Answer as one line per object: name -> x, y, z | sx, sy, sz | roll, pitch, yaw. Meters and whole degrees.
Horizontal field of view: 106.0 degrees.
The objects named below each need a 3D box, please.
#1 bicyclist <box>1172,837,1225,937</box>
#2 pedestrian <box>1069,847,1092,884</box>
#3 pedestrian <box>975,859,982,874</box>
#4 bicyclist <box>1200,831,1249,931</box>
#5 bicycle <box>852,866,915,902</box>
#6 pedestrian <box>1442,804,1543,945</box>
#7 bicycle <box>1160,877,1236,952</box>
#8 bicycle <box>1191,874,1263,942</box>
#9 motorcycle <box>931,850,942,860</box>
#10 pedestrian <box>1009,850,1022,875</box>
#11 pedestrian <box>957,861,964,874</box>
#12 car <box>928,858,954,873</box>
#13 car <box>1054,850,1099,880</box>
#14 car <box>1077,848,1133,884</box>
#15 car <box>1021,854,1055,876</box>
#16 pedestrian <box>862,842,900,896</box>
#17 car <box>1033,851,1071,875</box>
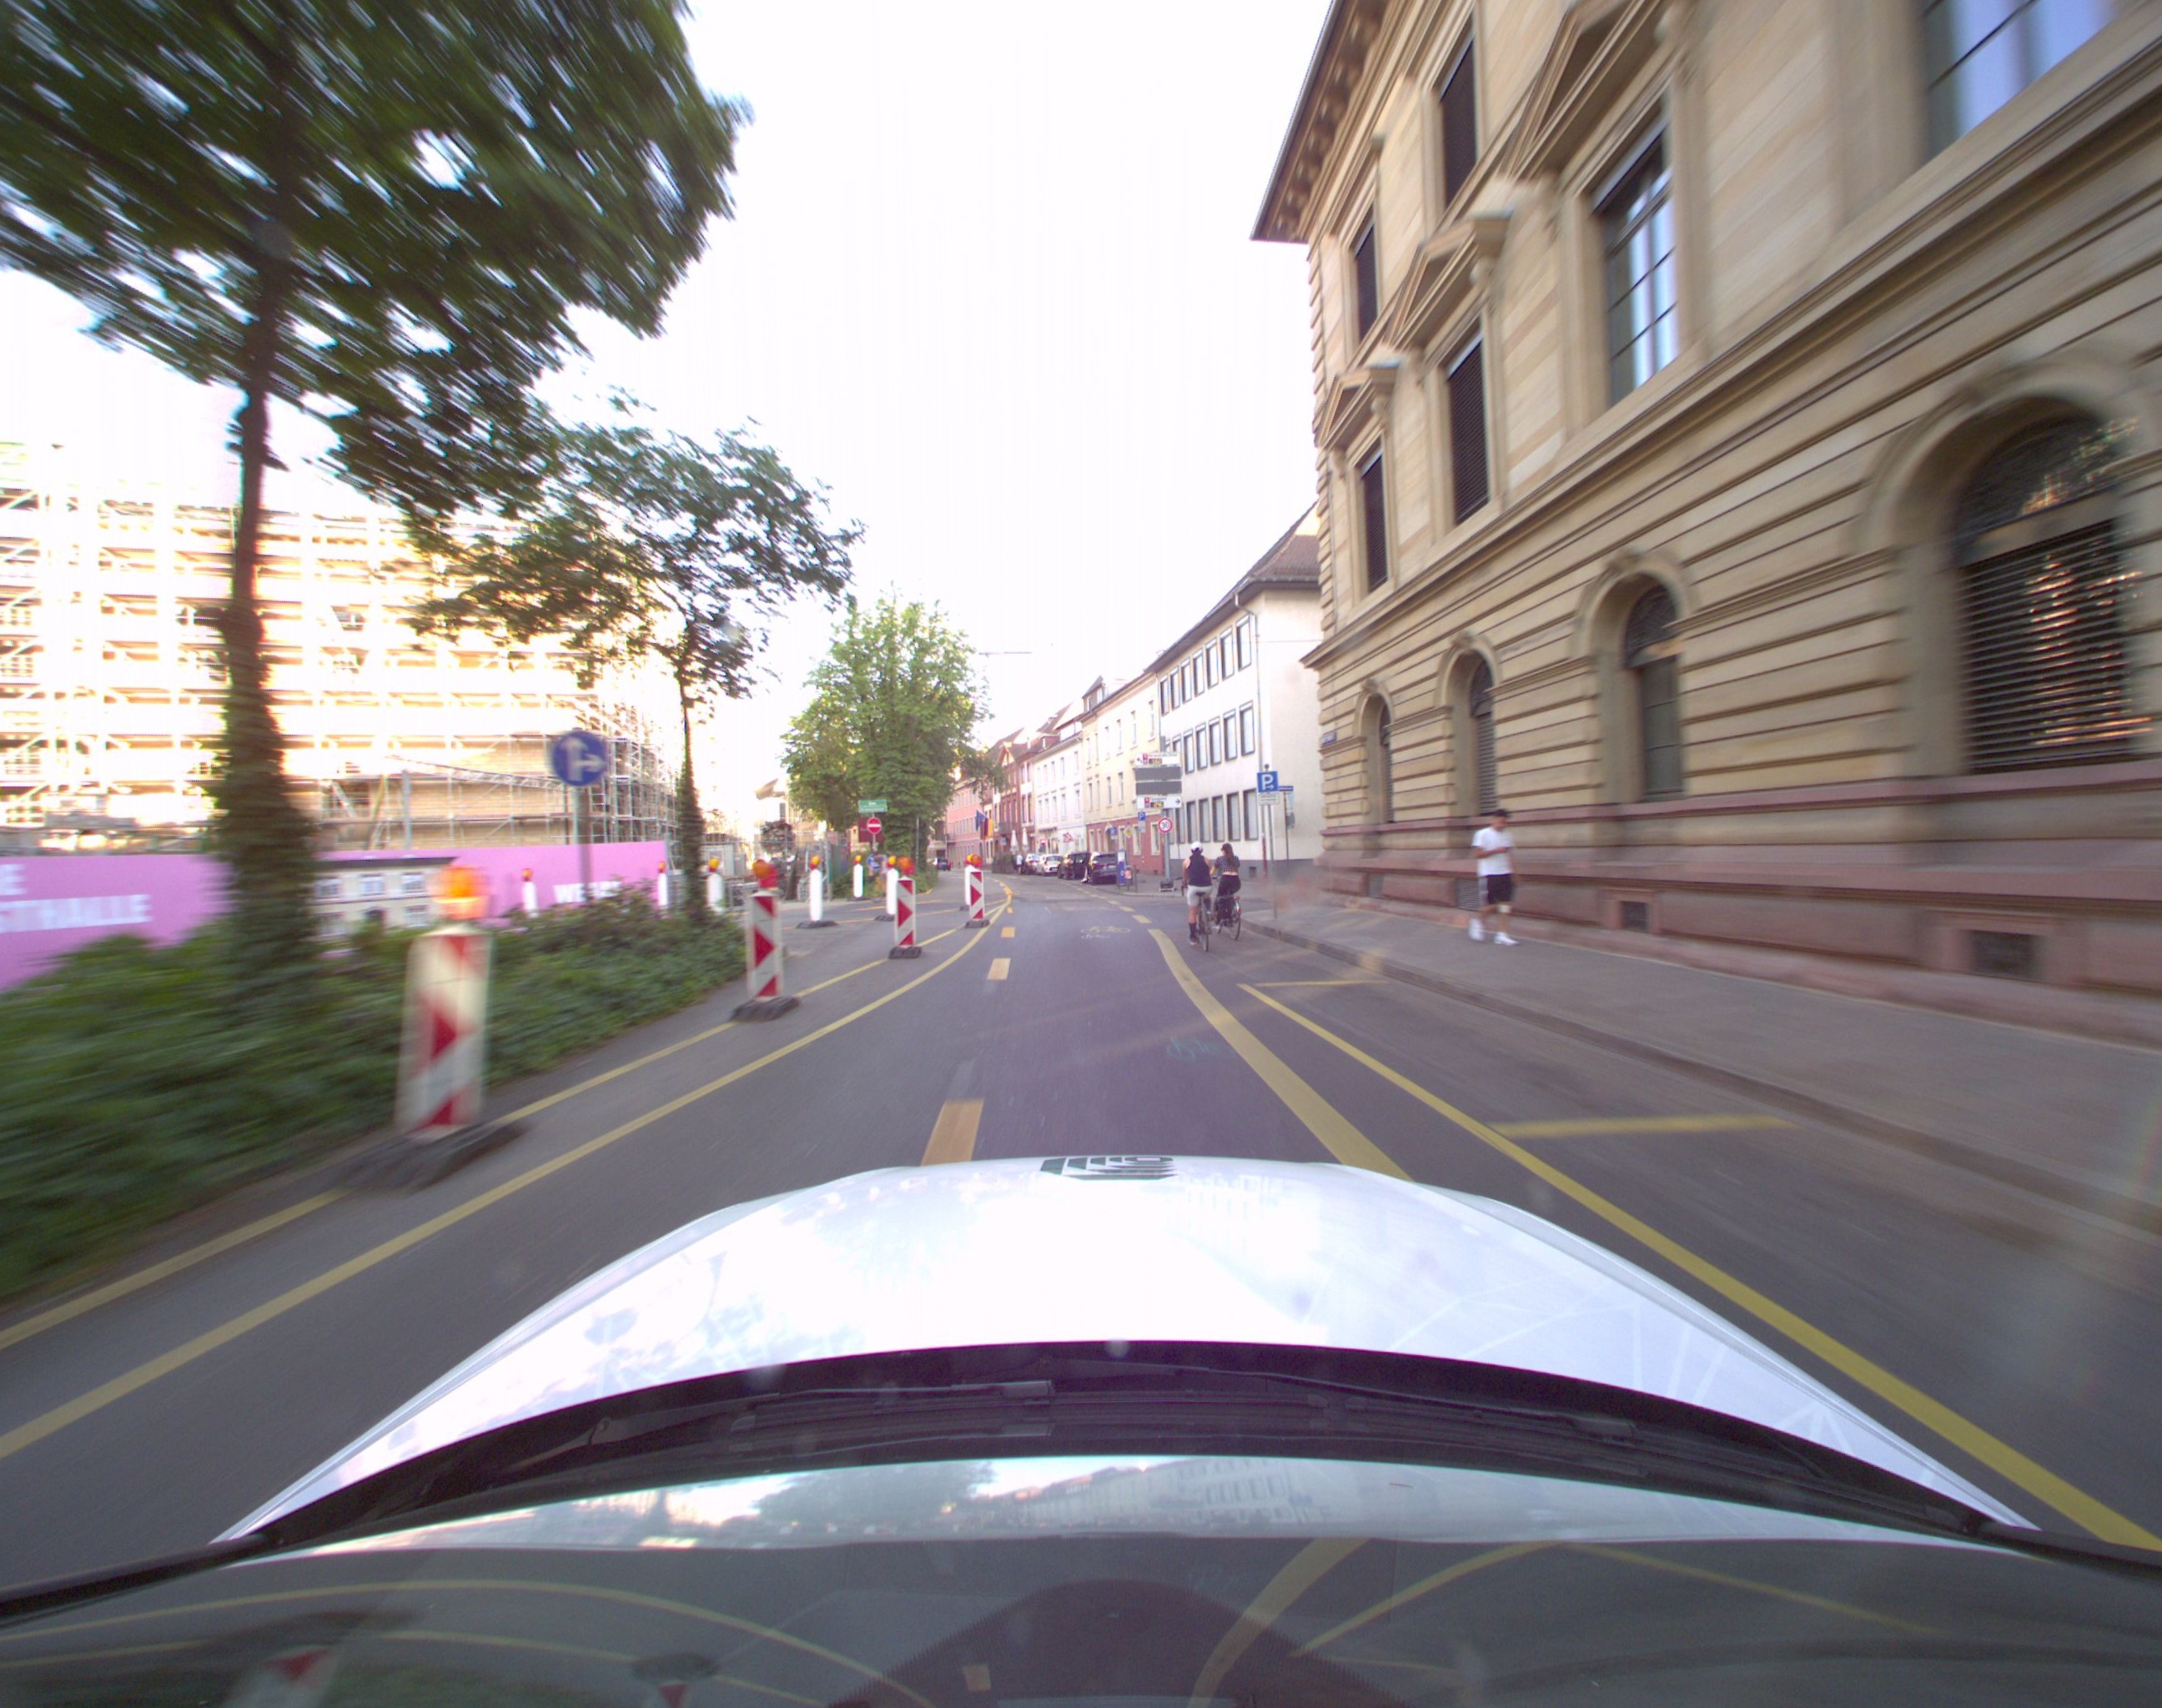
bicyclist -> 1.901, 0.517, 13.228 | 0.669, 1.566, 0.696 | 0, 0, -10
pedestrian -> -0.022, 0.594, 41.803 | 0.903, 1.866, 0.926 | -2, 0, -20
pedestrian -> -12.220, 1.511, 97.027 | 0.752, 1.762, 0.582 | -2, 0, -17
bicyclist -> 2.590, 0.474, 14.767 | 0.649, 1.760, 0.862 | 0, 0, -8
bicycle -> -6.406, 0.962, 26.532 | 0.753, 1.037, 2.133 | -2, 0, 26
pedestrian -> 5.418, 0.248, 10.787 | 0.814, 1.765, 1.038 | -1, 0, 1
bicycle -> 1.878, 0.943, 13.334 | 0.669, 1.071, 1.894 | -1, 0, -10
bicycle -> 2.597, 0.930, 14.751 | 0.652, 1.071, 2.252 | 0, 0, -7
motorcycle -> -18.627, 0.123, 104.714 | 1.044, 1.248, 2.382 | -2, 0, -19
pedestrian -> -4.921, 0.664, 61.131 | 0.828, 1.844, 0.958 | -1, 0, 1
pedestrian -> -14.583, 1.639, 98.534 | 0.669, 1.581, 0.582 | -2, 0, -17
car -> -15.533, 1.267, 90.368 | 1.821, 1.560, 3.833 | -2, 0, -25
car -> -0.313, 0.635, 48.861 | 1.815, 1.684, 3.981 | -2, 0, -13
car -> 1.161, 0.593, 40.948 | 1.814, 1.682, 3.901 | -2, 0, -13
car -> -3.282, 0.802, 61.193 | 1.815, 1.560, 3.845 | -2, 0, -15
pedestrian -> -6.478, 0.478, 26.397 | 0.728, 1.674, 0.901 | -2, 0, 26
car -> -2.070, 0.646, 56.801 | 1.815, 1.560, 3.845 | -2, 0, -15
